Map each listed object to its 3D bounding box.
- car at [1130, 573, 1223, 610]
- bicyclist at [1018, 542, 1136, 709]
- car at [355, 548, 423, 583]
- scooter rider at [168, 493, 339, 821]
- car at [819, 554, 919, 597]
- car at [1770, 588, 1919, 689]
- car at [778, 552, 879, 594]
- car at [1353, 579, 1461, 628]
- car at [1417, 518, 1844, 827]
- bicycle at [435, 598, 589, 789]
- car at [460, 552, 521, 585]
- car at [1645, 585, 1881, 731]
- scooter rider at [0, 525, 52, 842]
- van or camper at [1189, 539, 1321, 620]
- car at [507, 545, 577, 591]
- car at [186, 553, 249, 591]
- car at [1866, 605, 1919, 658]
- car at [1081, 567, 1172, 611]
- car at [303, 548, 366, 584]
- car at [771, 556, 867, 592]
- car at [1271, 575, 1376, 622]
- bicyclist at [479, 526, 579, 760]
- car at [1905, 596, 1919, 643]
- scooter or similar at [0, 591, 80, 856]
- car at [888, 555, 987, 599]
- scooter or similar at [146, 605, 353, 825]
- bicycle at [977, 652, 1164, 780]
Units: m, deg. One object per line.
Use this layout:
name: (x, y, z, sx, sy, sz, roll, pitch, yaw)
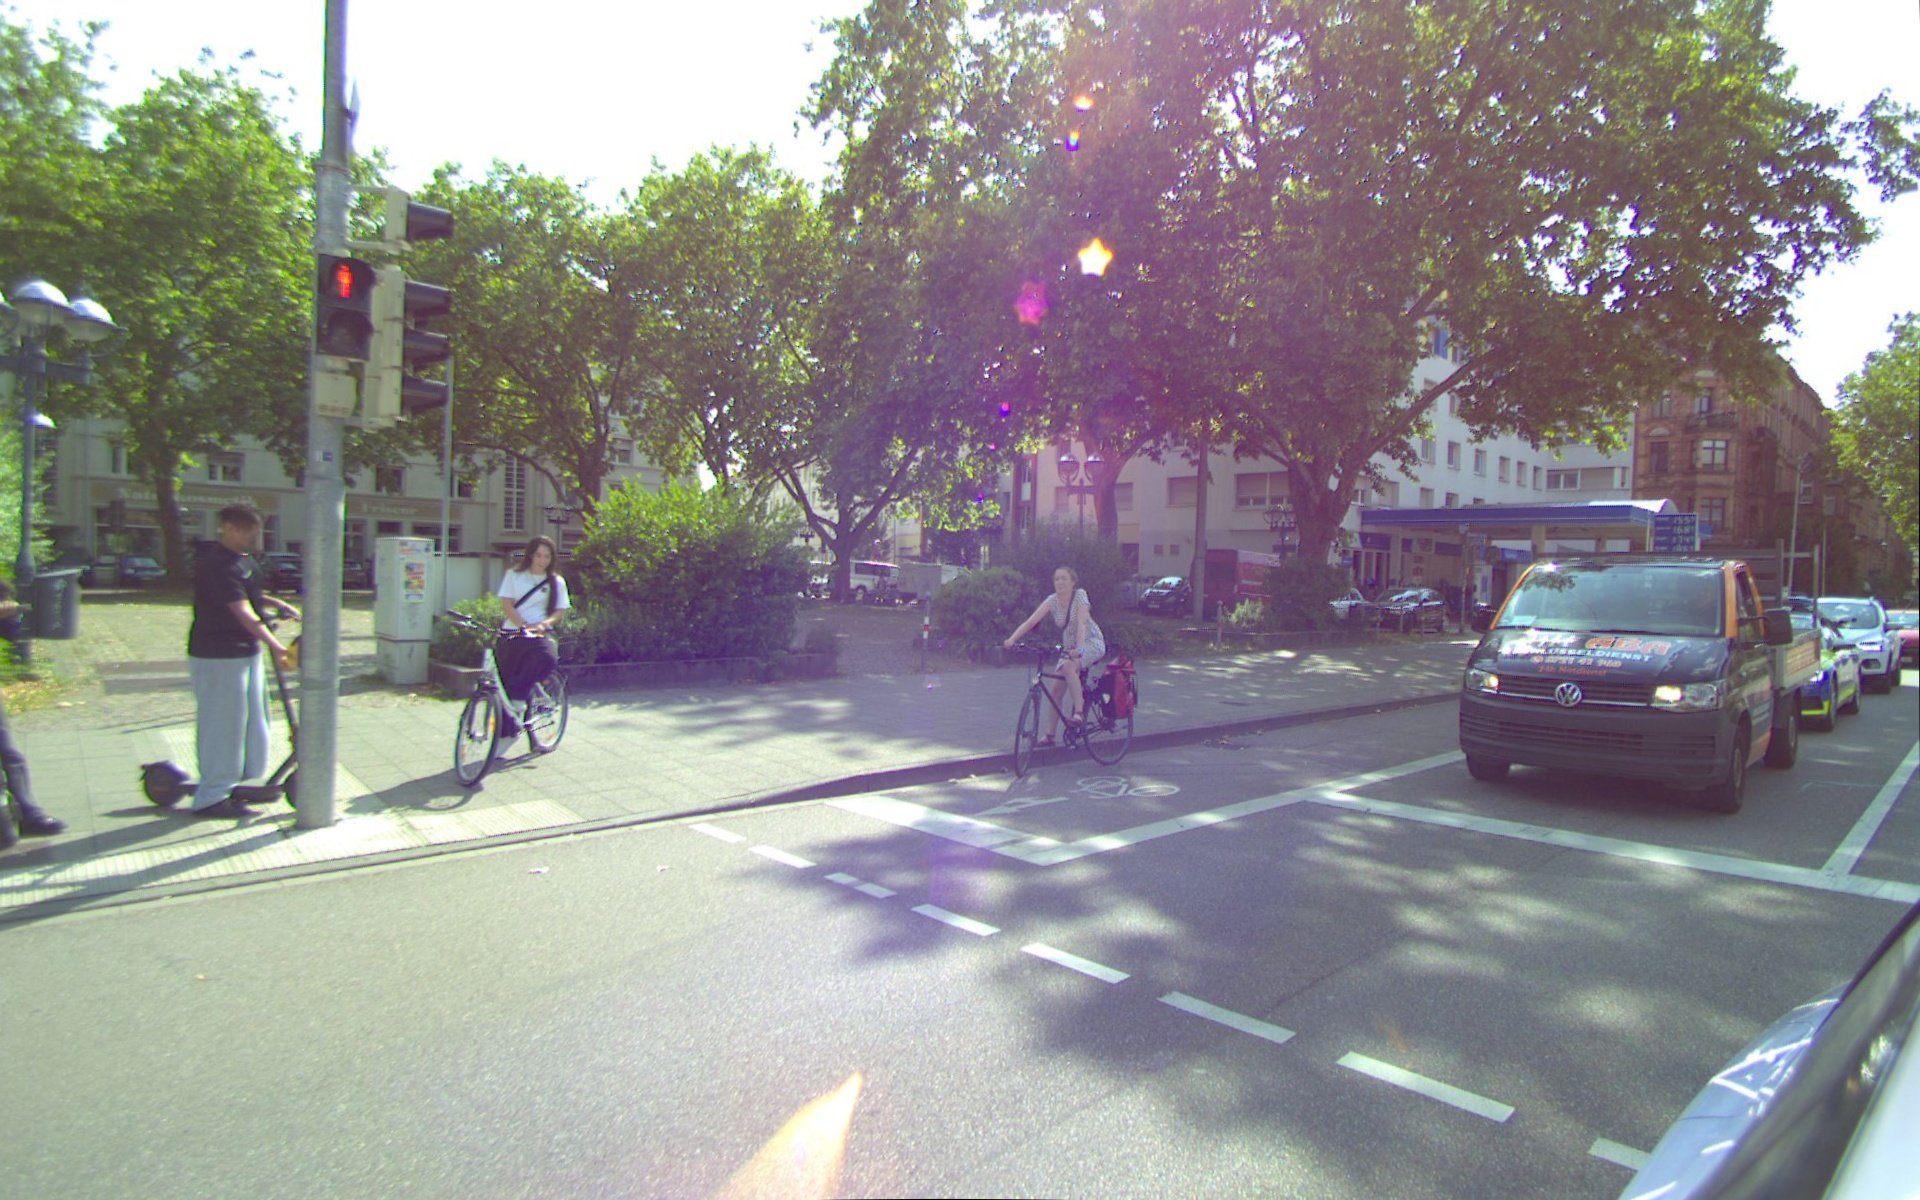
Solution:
car: (8.127, -0.317, 37.746, 3.934, 1.310, 1.474, 0, 0, -45)
bicyclist: (1.008, 0.200, 8.679, 0.892, 1.360, 0.471, 0, 2, -35)
car: (-29.831, -1.815, 52.790, 4.073, 1.680, 2.049, 3, 2, 45)
scooter rider: (-4.153, 0.316, 5.990, 0.665, 1.832, 0.546, 2, 2, -18)
car: (-4.611, -1.223, 52.056, 1.992, 2.113, 5.174, 0, 0, 42)
car: (16.782, 0.635, 19.065, 4.601, 1.626, 1.762, 0, 2, -44)
car: (-6.910, -1.372, 53.614, 1.994, 2.113, 5.169, 0, 0, 44)
car: (14.096, 0.082, 31.831, 3.934, 1.428, 1.754, 0, 2, -44)
car: (6.264, 0.359, 9.133, 5.248, 2.011, 2.077, -2, 3, -44)
bicycle: (-3.238, 0.617, 7.447, 0.497, 1.126, 1.634, 2, 4, -4)
car: (-26.281, -1.769, 56.610, 4.073, 1.680, 1.822, 3, 2, 45)
car: (11.243, 0.635, 14.016, 5.067, 1.673, 1.869, 0, 1, -43)
scooter rider: (-5.098, 0.420, 5.178, 0.433, 1.612, 0.540, 4, 2, 25)
van or camper: (10.602, -0.687, 36.174, 5.257, 2.675, 2.105, 0, 0, -42)
car: (-19.620, -1.439, 47.388, 2.213, 2.039, 3.933, 0, 0, -35)
car: (-35.225, -1.342, 47.975, 4.073, 1.680, 1.822, 3, 2, 45)
car: (24.173, 0.780, 25.500, 3.571, 1.203, 1.619, 0, 2, -42)
car: (6.630, -0.434, 40.013, 3.934, 1.624, 1.527, 0, 1, -45)
car: (-31.530, -1.735, 50.981, 4.073, 1.680, 1.822, 3, 2, 45)
car: (-7.770, -1.383, 56.097, 1.993, 1.896, 5.170, 0, 0, 44)
car: (12.154, -0.070, 33.742, 3.934, 1.428, 1.754, 0, 2, -44)
bicyclist: (-3.238, 0.297, 7.629, 0.497, 1.688, 0.584, 2, 3, -4)
car: (33.484, 0.668, 34.383, 4.117, 1.517, 1.762, -1, 3, -44)
scooter or similar: (-5.052, 0.604, 5.161, 0.868, 1.241, 0.540, 4, 3, 25)
car: (-1.033, -1.049, 48.232, 4.606, 1.959, 1.995, 0, 0, -44)
scooter or similar: (-4.176, 0.655, 6.001, 0.858, 1.185, 0.546, 2, 2, -18)
bicycle: (0.974, 0.951, 8.669, 1.684, 0.932, 0.471, 0, 2, -35)
